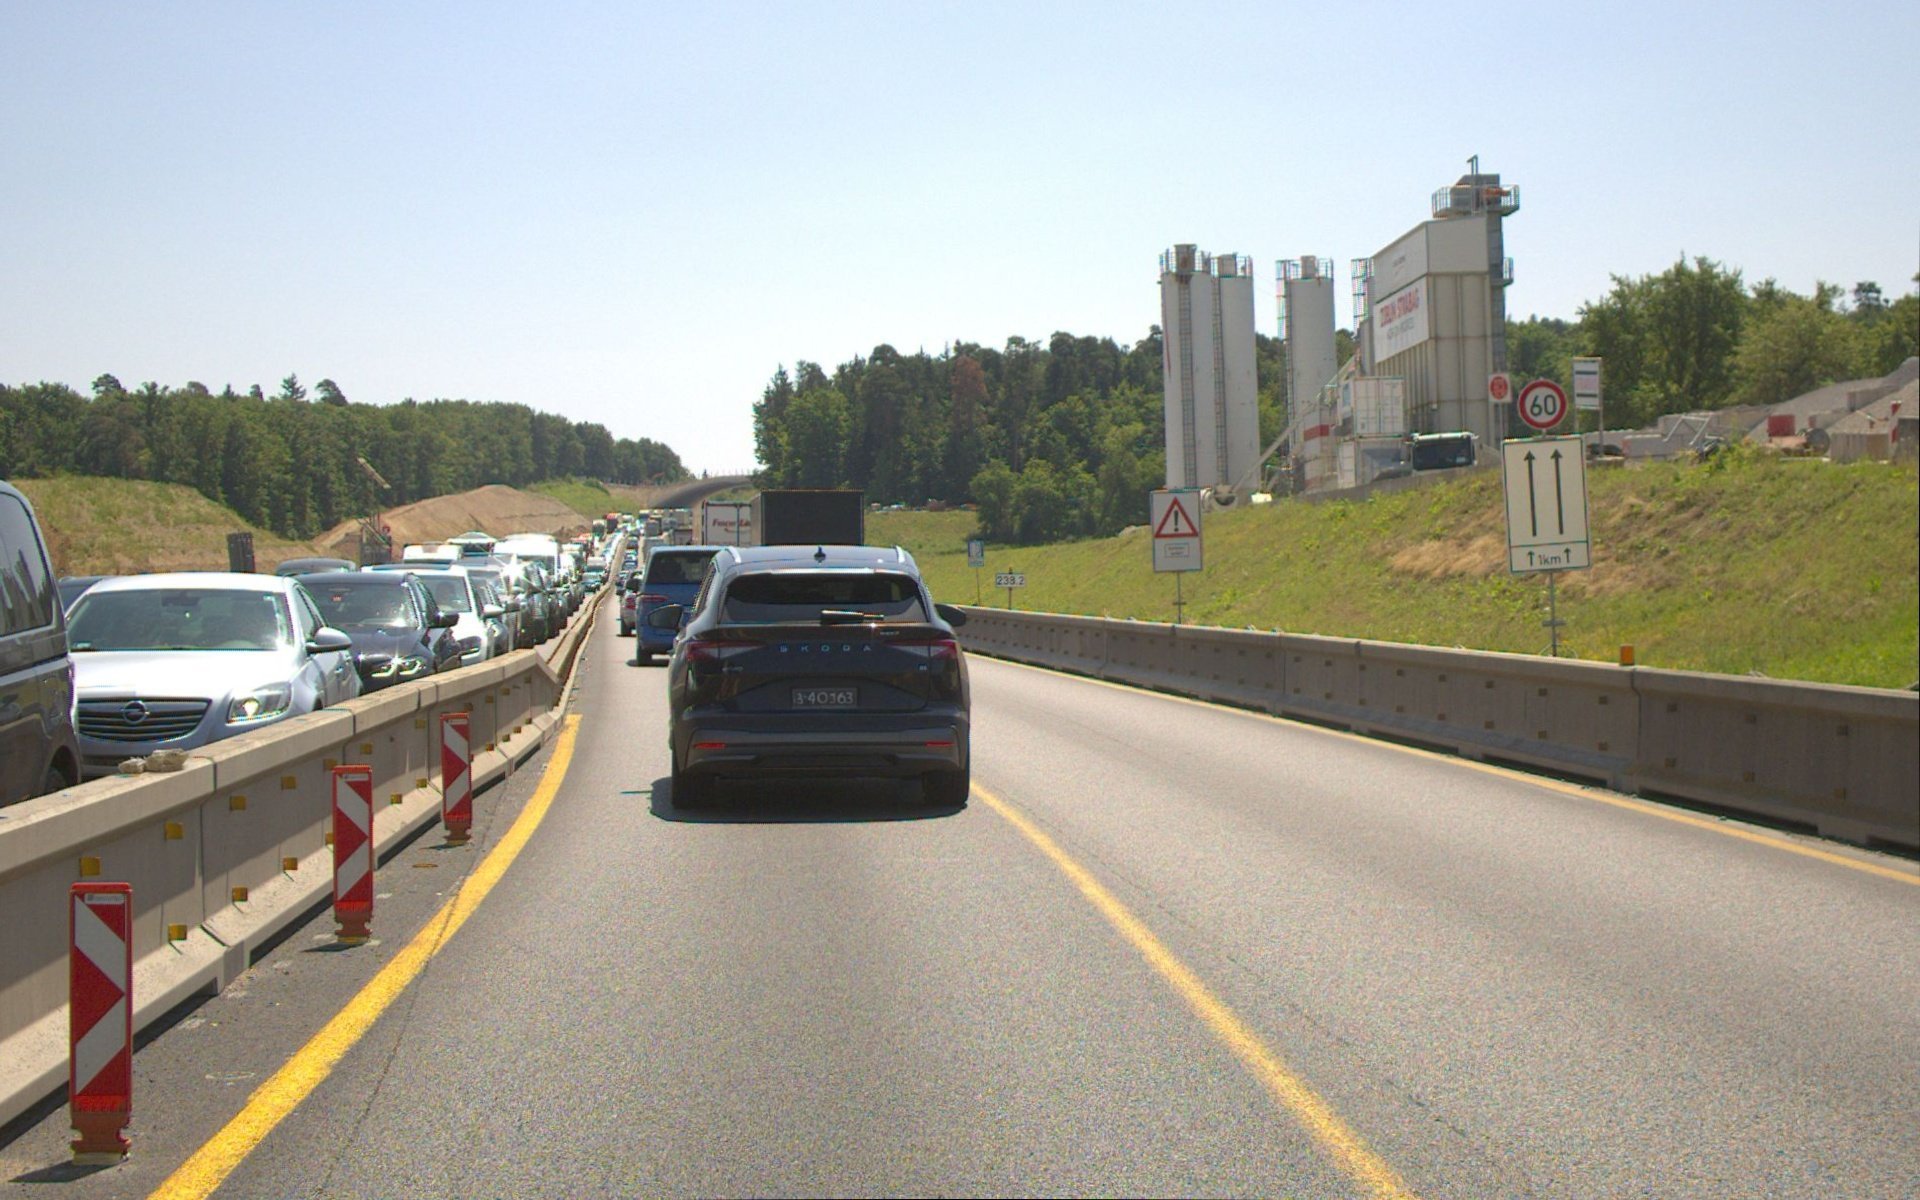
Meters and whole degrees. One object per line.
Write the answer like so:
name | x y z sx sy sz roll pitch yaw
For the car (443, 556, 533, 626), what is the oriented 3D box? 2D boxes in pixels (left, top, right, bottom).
car | -9.252 -0.200 67.609 1.617 1.319 3.696 -1 1 -6

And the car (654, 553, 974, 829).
car | -0.992 0.502 22.016 1.842 1.576 4.001 -1 1 -4

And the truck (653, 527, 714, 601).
truck | -16.241 -2.155 202.114 3.475 4.206 10.378 0 1 -4

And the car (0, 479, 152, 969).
car | -4.499 0.462 12.283 2.045 1.771 5.066 -1 1 0

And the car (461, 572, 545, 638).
car | -9.611 0.089 72.449 1.617 1.319 3.696 -1 1 -6

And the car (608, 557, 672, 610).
car | -10.087 -0.520 108.553 1.821 1.638 3.866 0 1 -3

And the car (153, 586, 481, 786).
car | -5.480 0.672 29.942 2.045 1.521 5.066 -1 1 -2

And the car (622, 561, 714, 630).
car | -6.906 -0.131 81.024 2.045 1.521 5.067 -2 1 -6

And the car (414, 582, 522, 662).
car | -8.155 0.343 57.203 1.617 1.226 3.696 -1 1 -6

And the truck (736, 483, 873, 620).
truck | -3.621 -1.091 78.681 2.672 2.935 5.621 -2 1 -6

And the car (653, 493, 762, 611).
car | -9.409 -1.805 127.101 3.435 4.087 9.199 2 1 -7

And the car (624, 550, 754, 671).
car | -4.378 0.138 55.290 1.993 1.837 4.001 -1 1 -5

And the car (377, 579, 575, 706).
car | -6.343 0.517 45.547 2.045 1.521 5.066 -1 1 -2

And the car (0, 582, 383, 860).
car | -4.747 0.659 21.097 1.993 1.525 4.059 0 0 -4

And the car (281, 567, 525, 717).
car | -6.136 0.411 38.452 2.045 1.521 5.066 -1 1 -2

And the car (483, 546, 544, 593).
car | -12.906 -0.889 99.511 1.617 1.319 3.696 -1 1 -6
